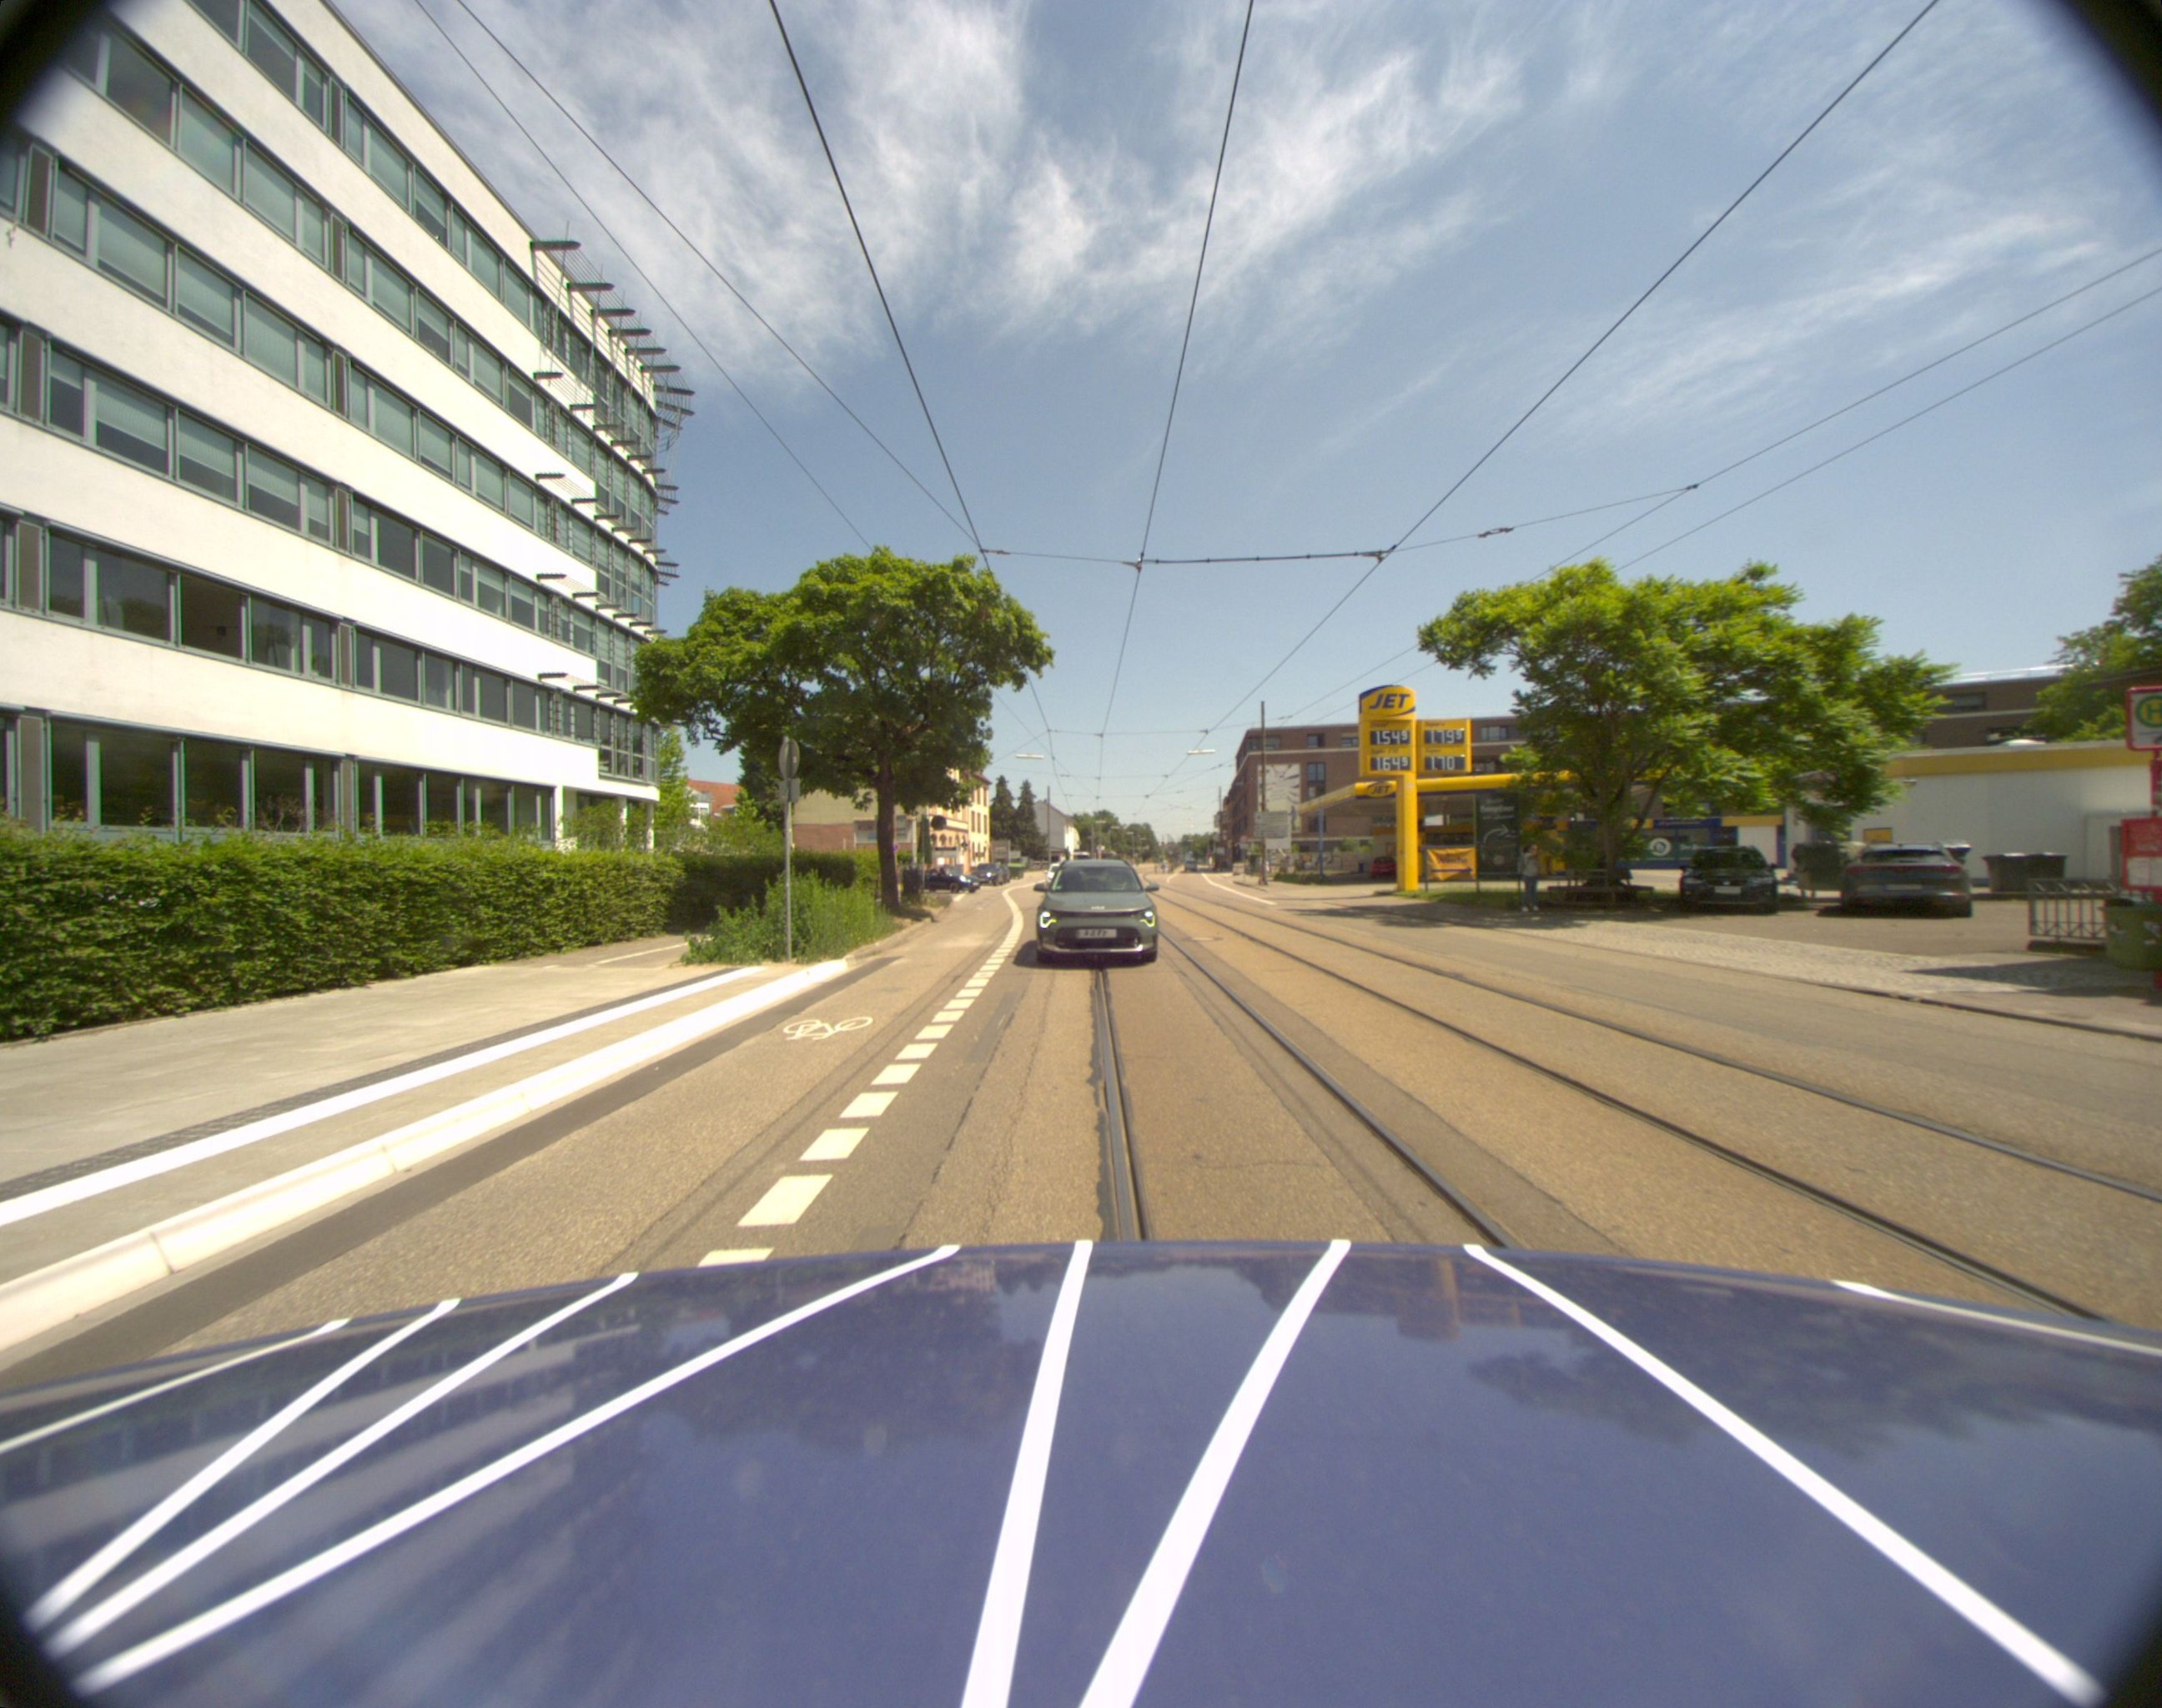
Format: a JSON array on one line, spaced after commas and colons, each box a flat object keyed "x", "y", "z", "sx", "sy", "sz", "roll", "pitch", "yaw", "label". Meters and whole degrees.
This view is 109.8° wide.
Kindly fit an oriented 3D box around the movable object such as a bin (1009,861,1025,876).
[{"x": -6.164, "y": 1.403, "z": 73.177, "sx": 1.396, "sy": 1.446, "sz": 1.139, "roll": 2, "pitch": 0, "yaw": -3, "label": "movable object such as a bin"}]

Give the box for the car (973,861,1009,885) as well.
[{"x": -6.623, "y": 1.377, "z": 56.545, "sx": 1.929, "sy": 1.683, "sz": 5.083, "roll": 1, "pitch": 0, "yaw": 2, "label": "car"}]

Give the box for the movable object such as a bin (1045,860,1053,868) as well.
[{"x": -6.070, "y": 1.917, "z": 143.623, "sx": 1.389, "sy": 1.472, "sz": 1.152, "roll": -1, "pitch": 0, "yaw": 9, "label": "movable object such as a bin"}]

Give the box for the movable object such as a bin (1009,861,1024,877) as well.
[{"x": -5.981, "y": 1.370, "z": 71.010, "sx": 1.327, "sy": 1.446, "sz": 1.057, "roll": 2, "pitch": 0, "yaw": -3, "label": "movable object such as a bin"}]

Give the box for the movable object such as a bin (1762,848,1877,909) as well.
[{"x": 19.251, "y": 0.622, "z": 19.905, "sx": 1.522, "sy": 1.500, "sz": 2.103, "roll": -2, "pitch": -1, "yaw": 25, "label": "movable object such as a bin"}]

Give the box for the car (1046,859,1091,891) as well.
[{"x": -0.616, "y": 1.090, "z": 40.376, "sx": 1.748, "sy": 1.546, "sz": 4.490, "roll": -2, "pitch": -1, "yaw": 7, "label": "car"}]

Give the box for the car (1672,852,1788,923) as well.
[{"x": 15.865, "y": 0.747, "z": 18.647, "sx": 1.930, "sy": 1.479, "sz": 4.460, "roll": -2, "pitch": -1, "yaw": 40, "label": "car"}]

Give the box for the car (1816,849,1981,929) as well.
[{"x": 17.679, "y": 0.683, "z": 16.666, "sx": 1.930, "sy": 1.479, "sz": 4.460, "roll": -2, "pitch": -1, "yaw": 40, "label": "car"}]

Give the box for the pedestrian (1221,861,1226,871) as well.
[{"x": 22.681, "y": 1.980, "z": 120.898, "sx": 0.604, "sy": 1.586, "sz": 0.715, "roll": -1, "pitch": 0, "yaw": 6, "label": "pedestrian"}]

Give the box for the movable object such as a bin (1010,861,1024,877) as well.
[{"x": -6.074, "y": 1.397, "z": 72.079, "sx": 1.250, "sy": 1.446, "sz": 1.057, "roll": 2, "pitch": 0, "yaw": -3, "label": "movable object such as a bin"}]

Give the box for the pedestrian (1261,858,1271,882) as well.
[{"x": 12.874, "y": 1.098, "z": 52.807, "sx": 0.626, "sy": 1.681, "sz": 0.723, "roll": -1, "pitch": 0, "yaw": 13, "label": "pedestrian"}]

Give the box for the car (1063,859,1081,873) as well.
[{"x": -0.956, "y": 1.369, "z": 86.127, "sx": 1.748, "sy": 1.546, "sz": 4.488, "roll": -2, "pitch": -1, "yaw": 3, "label": "car"}]

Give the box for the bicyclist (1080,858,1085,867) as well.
[{"x": 0.395, "y": 1.905, "z": 165.052, "sx": 0.790, "sy": 1.863, "sz": 0.888, "roll": 2, "pitch": 0, "yaw": 15, "label": "bicyclist"}]

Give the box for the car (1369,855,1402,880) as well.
[{"x": 20.428, "y": 0.918, "z": 50.886, "sx": 1.827, "sy": 1.495, "sz": 4.207, "roll": -3, "pitch": -2, "yaw": 24, "label": "car"}]

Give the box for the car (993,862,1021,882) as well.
[{"x": -6.117, "y": 1.479, "z": 63.196, "sx": 1.776, "sy": 1.539, "sz": 4.468, "roll": 1, "pitch": 0, "yaw": 1, "label": "car"}]

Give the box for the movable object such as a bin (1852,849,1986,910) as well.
[{"x": 20.805, "y": 0.610, "z": 18.959, "sx": 1.522, "sy": 1.423, "sz": 2.103, "roll": -2, "pitch": -1, "yaw": 25, "label": "movable object such as a bin"}]

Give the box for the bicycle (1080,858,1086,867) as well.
[{"x": 0.396, "y": 1.930, "z": 165.084, "sx": 0.799, "sy": 1.889, "sz": 1.961, "roll": 2, "pitch": 0, "yaw": 15, "label": "bicycle"}]

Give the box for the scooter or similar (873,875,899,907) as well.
[{"x": -7.640, "y": 1.446, "z": 29.770, "sx": 0.326, "sy": 1.215, "sz": 1.153, "roll": -2, "pitch": 0, "yaw": 22, "label": "scooter or similar"}]

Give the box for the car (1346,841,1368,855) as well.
[{"x": 29.209, "y": -0.629, "z": 80.505, "sx": 1.734, "sy": 1.459, "sz": 4.004, "roll": -2, "pitch": -1, "yaw": 13, "label": "car"}]

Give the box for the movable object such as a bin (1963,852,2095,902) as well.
[{"x": 22.487, "y": 0.534, "z": 18.095, "sx": 1.405, "sy": 1.131, "sz": 1.567, "roll": -2, "pitch": -1, "yaw": 25, "label": "movable object such as a bin"}]

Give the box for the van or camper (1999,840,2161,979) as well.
[{"x": 14.555, "y": 0.609, "z": 9.509, "sx": 3.793, "sy": 1.619, "sz": 1.872, "roll": -2, "pitch": -1, "yaw": 0, "label": "van or camper"}]

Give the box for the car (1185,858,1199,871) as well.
[{"x": 16.859, "y": 1.606, "z": 115.364, "sx": 1.997, "sy": 1.789, "sz": 4.555, "roll": -2, "pitch": 0, "yaw": 9, "label": "car"}]

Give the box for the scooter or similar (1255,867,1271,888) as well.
[{"x": 10.872, "y": 1.379, "z": 45.421, "sx": 0.520, "sy": 1.193, "sz": 1.376, "roll": -2, "pitch": 0, "yaw": -2, "label": "scooter or similar"}]

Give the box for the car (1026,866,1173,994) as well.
[{"x": 0.199, "y": 0.985, "z": 11.761, "sx": 1.827, "sy": 1.546, "sz": 4.487, "roll": 1, "pitch": 0, "yaw": -1, "label": "car"}]

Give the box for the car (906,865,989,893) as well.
[{"x": -6.940, "y": 1.278, "z": 39.464, "sx": 3.917, "sy": 1.364, "sz": 1.706, "roll": 0, "pitch": 0, "yaw": 25, "label": "car"}]

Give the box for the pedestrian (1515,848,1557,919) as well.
[{"x": 11.611, "y": 0.745, "z": 19.395, "sx": 0.581, "sy": 1.765, "sz": 0.699, "roll": -2, "pitch": 0, "yaw": -3, "label": "pedestrian"}]
